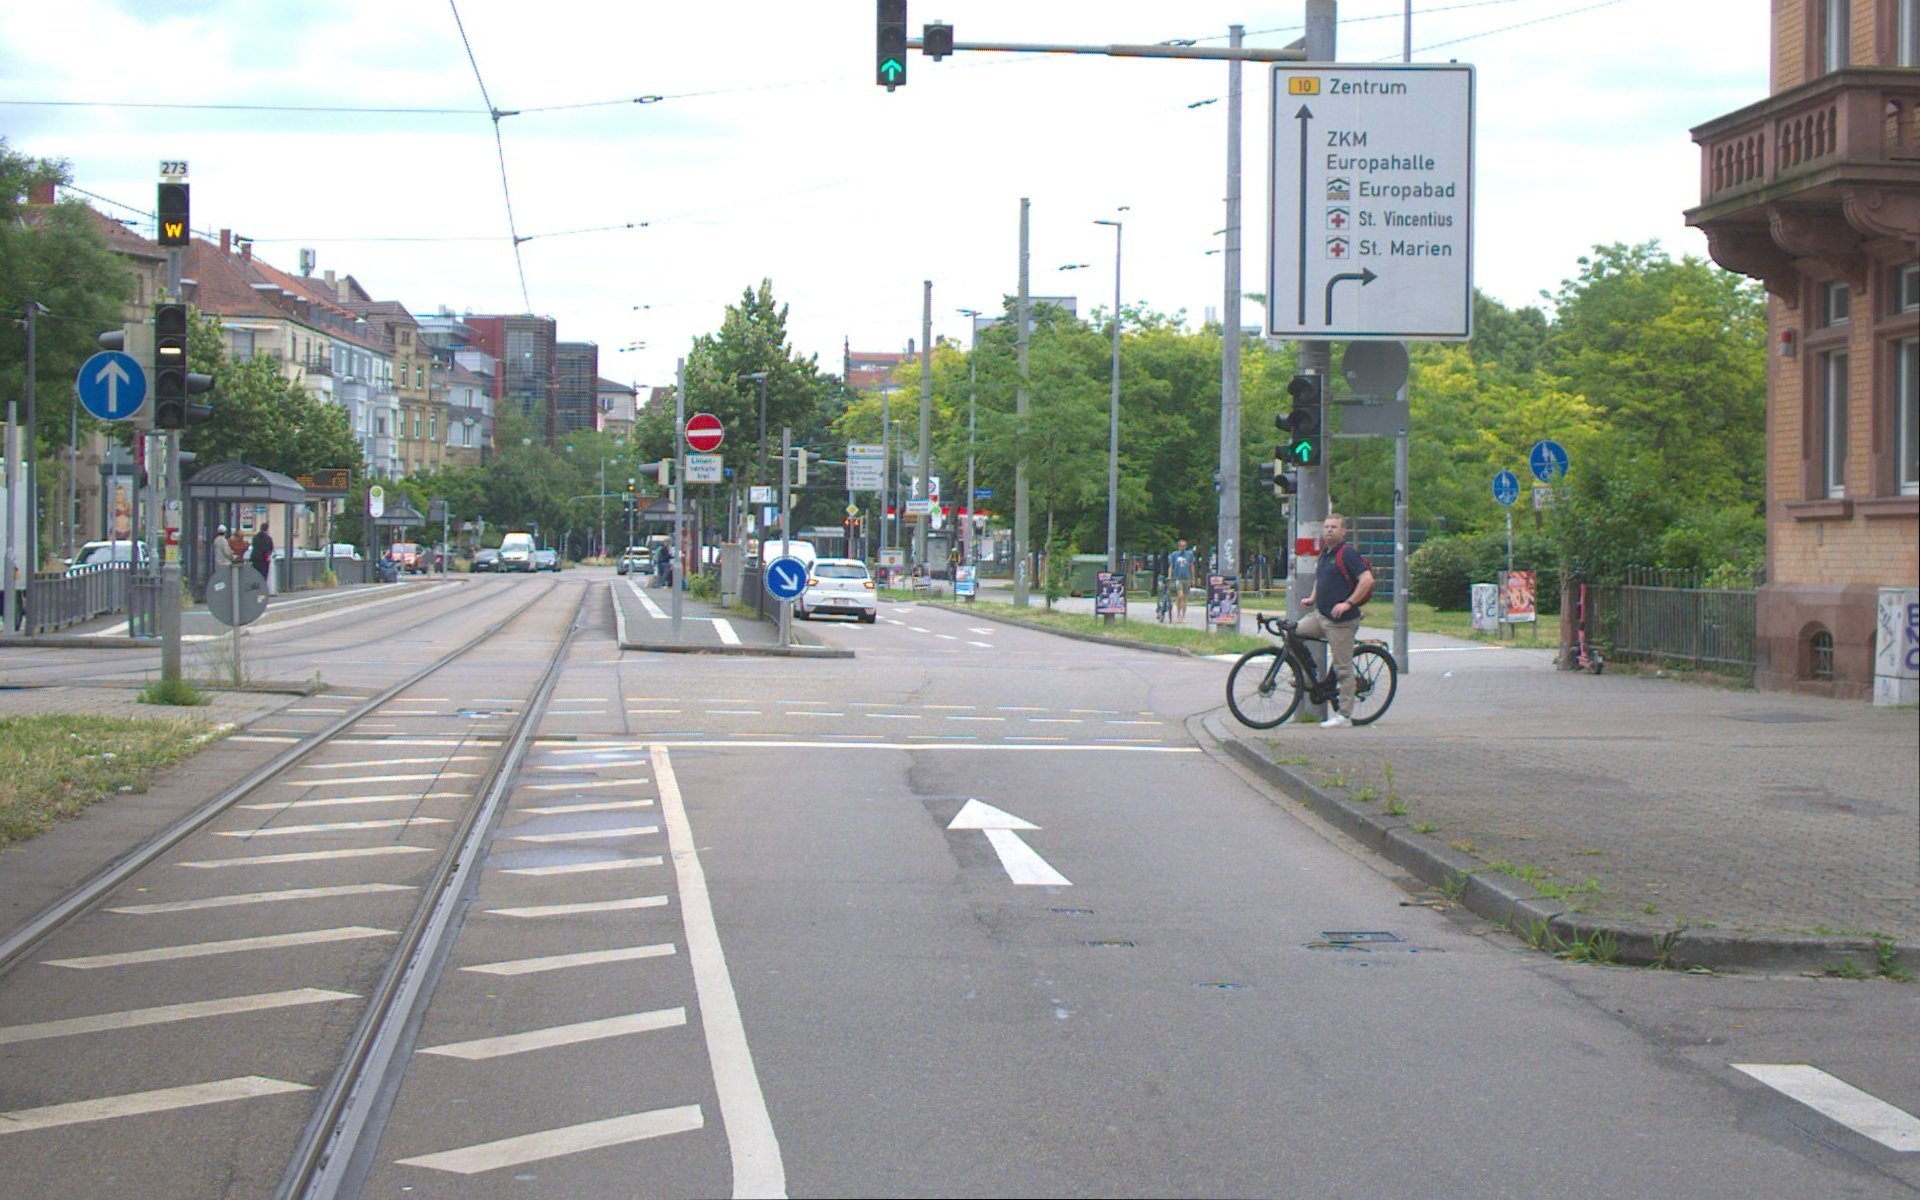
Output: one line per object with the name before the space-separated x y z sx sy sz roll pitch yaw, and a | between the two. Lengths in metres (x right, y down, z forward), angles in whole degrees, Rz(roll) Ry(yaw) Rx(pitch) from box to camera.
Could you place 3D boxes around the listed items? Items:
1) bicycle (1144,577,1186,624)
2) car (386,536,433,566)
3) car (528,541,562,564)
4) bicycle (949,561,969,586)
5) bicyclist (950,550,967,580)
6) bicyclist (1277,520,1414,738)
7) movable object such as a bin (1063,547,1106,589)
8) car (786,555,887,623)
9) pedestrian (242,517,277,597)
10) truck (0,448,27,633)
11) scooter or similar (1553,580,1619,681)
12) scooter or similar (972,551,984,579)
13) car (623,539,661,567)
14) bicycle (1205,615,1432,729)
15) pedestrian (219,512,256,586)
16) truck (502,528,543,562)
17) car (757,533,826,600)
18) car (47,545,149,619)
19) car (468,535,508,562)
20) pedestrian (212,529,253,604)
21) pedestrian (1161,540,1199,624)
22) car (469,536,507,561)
bicycle | 4.571 0.003 76.755 0.654 0.999 1.779 1 1 -6
car | -28.120 -2.480 175.677 1.770 1.488 3.887 1 0 1
car | -27.509 -3.117 228.092 1.770 1.488 3.887 1 0 1
bicycle | -0.049 -1.209 156.548 0.679 1.151 1.897 0 1 7
bicyclist | -0.061 -1.587 156.551 0.679 1.375 0.727 0 1 7
bicyclist | 3.235 0.232 28.871 0.680 1.789 0.891 1 1 -37
movable object such as a bin | 4.152 -1.072 114.987 1.282 1.385 1.159 1 0 -5
car | -2.847 -0.267 78.727 1.782 1.467 4.011 1 1 -10
pedestrian | -15.040 -0.926 73.854 0.699 1.709 0.699 0 1 -14
truck | -17.428 -1.022 58.430 2.184 3.146 7.334 1 0 -9
scooter or similar | 7.242 0.344 39.806 0.376 1.137 1.200 0 1 -8
scooter or similar | 0.726 -1.426 141.007 0.376 1.137 1.199 0 1 5
car | -17.563 -2.604 189.942 1.770 1.488 3.887 1 0 -1
bicycle | 3.043 0.599 29.120 1.862 0.921 0.796 1 1 -38
pedestrian | -16.295 -1.159 77.568 0.768 1.654 1.025 0 1 -8
truck | -26.953 -3.363 211.991 1.788 2.025 5.396 1 0 1
car | -5.102 -1.026 103.642 1.782 1.956 4.383 1 1 -6
car | -19.966 -0.425 79.759 1.770 1.633 4.538 1 0 -8
car | -27.540 -3.005 200.729 1.770 1.488 3.887 1 0 1
pedestrian | -15.823 -0.731 74.747 0.678 1.618 0.633 0 1 12
pedestrian | 4.915 -0.413 76.873 0.739 1.863 0.682 0 1 -5
car | -29.270 -3.188 213.417 1.770 1.488 3.887 1 0 1
